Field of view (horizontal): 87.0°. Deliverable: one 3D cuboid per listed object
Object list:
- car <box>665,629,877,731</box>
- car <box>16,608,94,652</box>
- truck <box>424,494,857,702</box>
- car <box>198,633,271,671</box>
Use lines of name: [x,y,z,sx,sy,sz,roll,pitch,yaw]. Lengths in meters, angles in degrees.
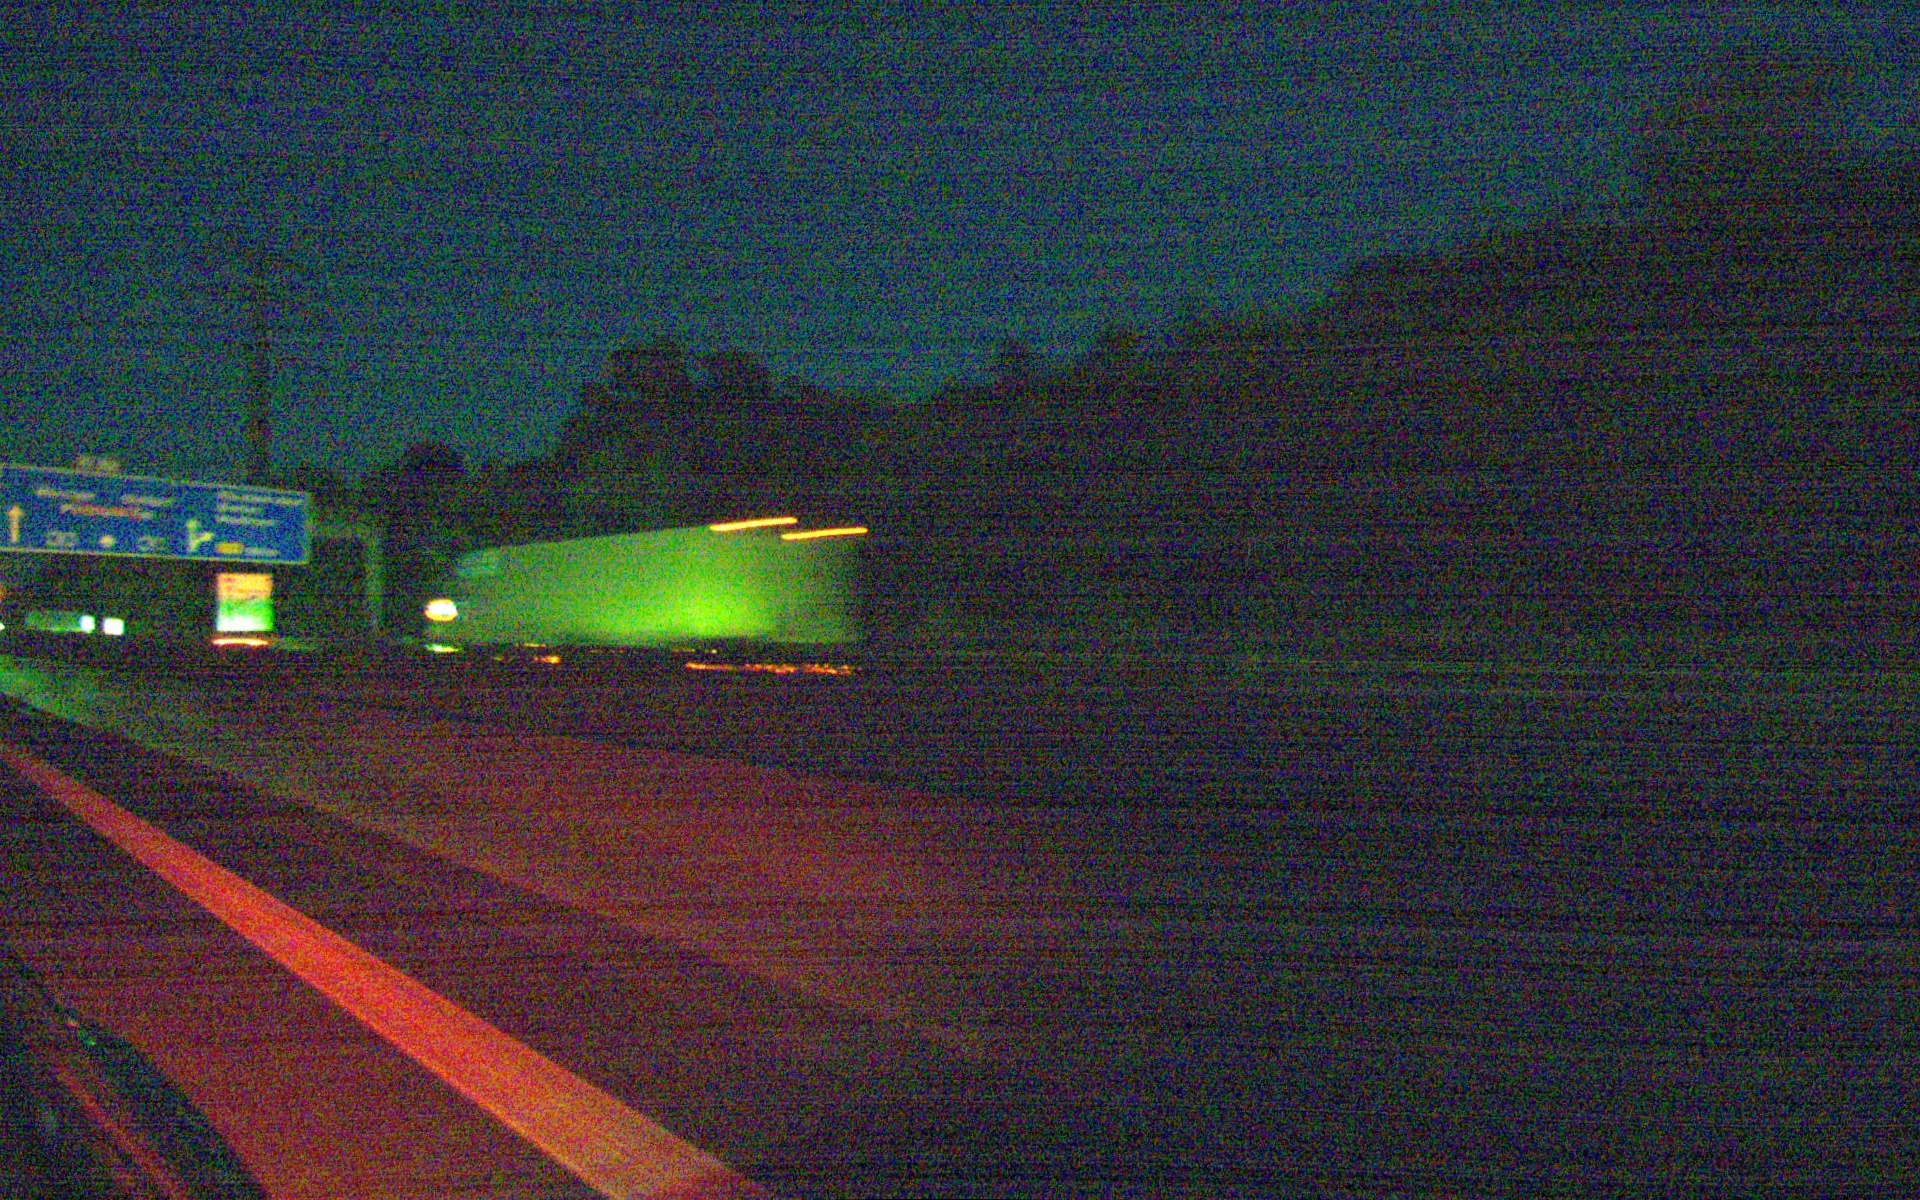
car: [-3.523,1.407,18.457,3.997,1.599,1.617,-3,-1,41]
car: [-46.609,1.572,52.055,6.941,2.029,2.185,-3,-1,42]
truck: [-10.150,0.299,29.013,17.430,4.523,3.213,-3,-1,42]
car: [-36.083,2.594,50.308,4.496,1.774,1.880,-3,-1,40]
